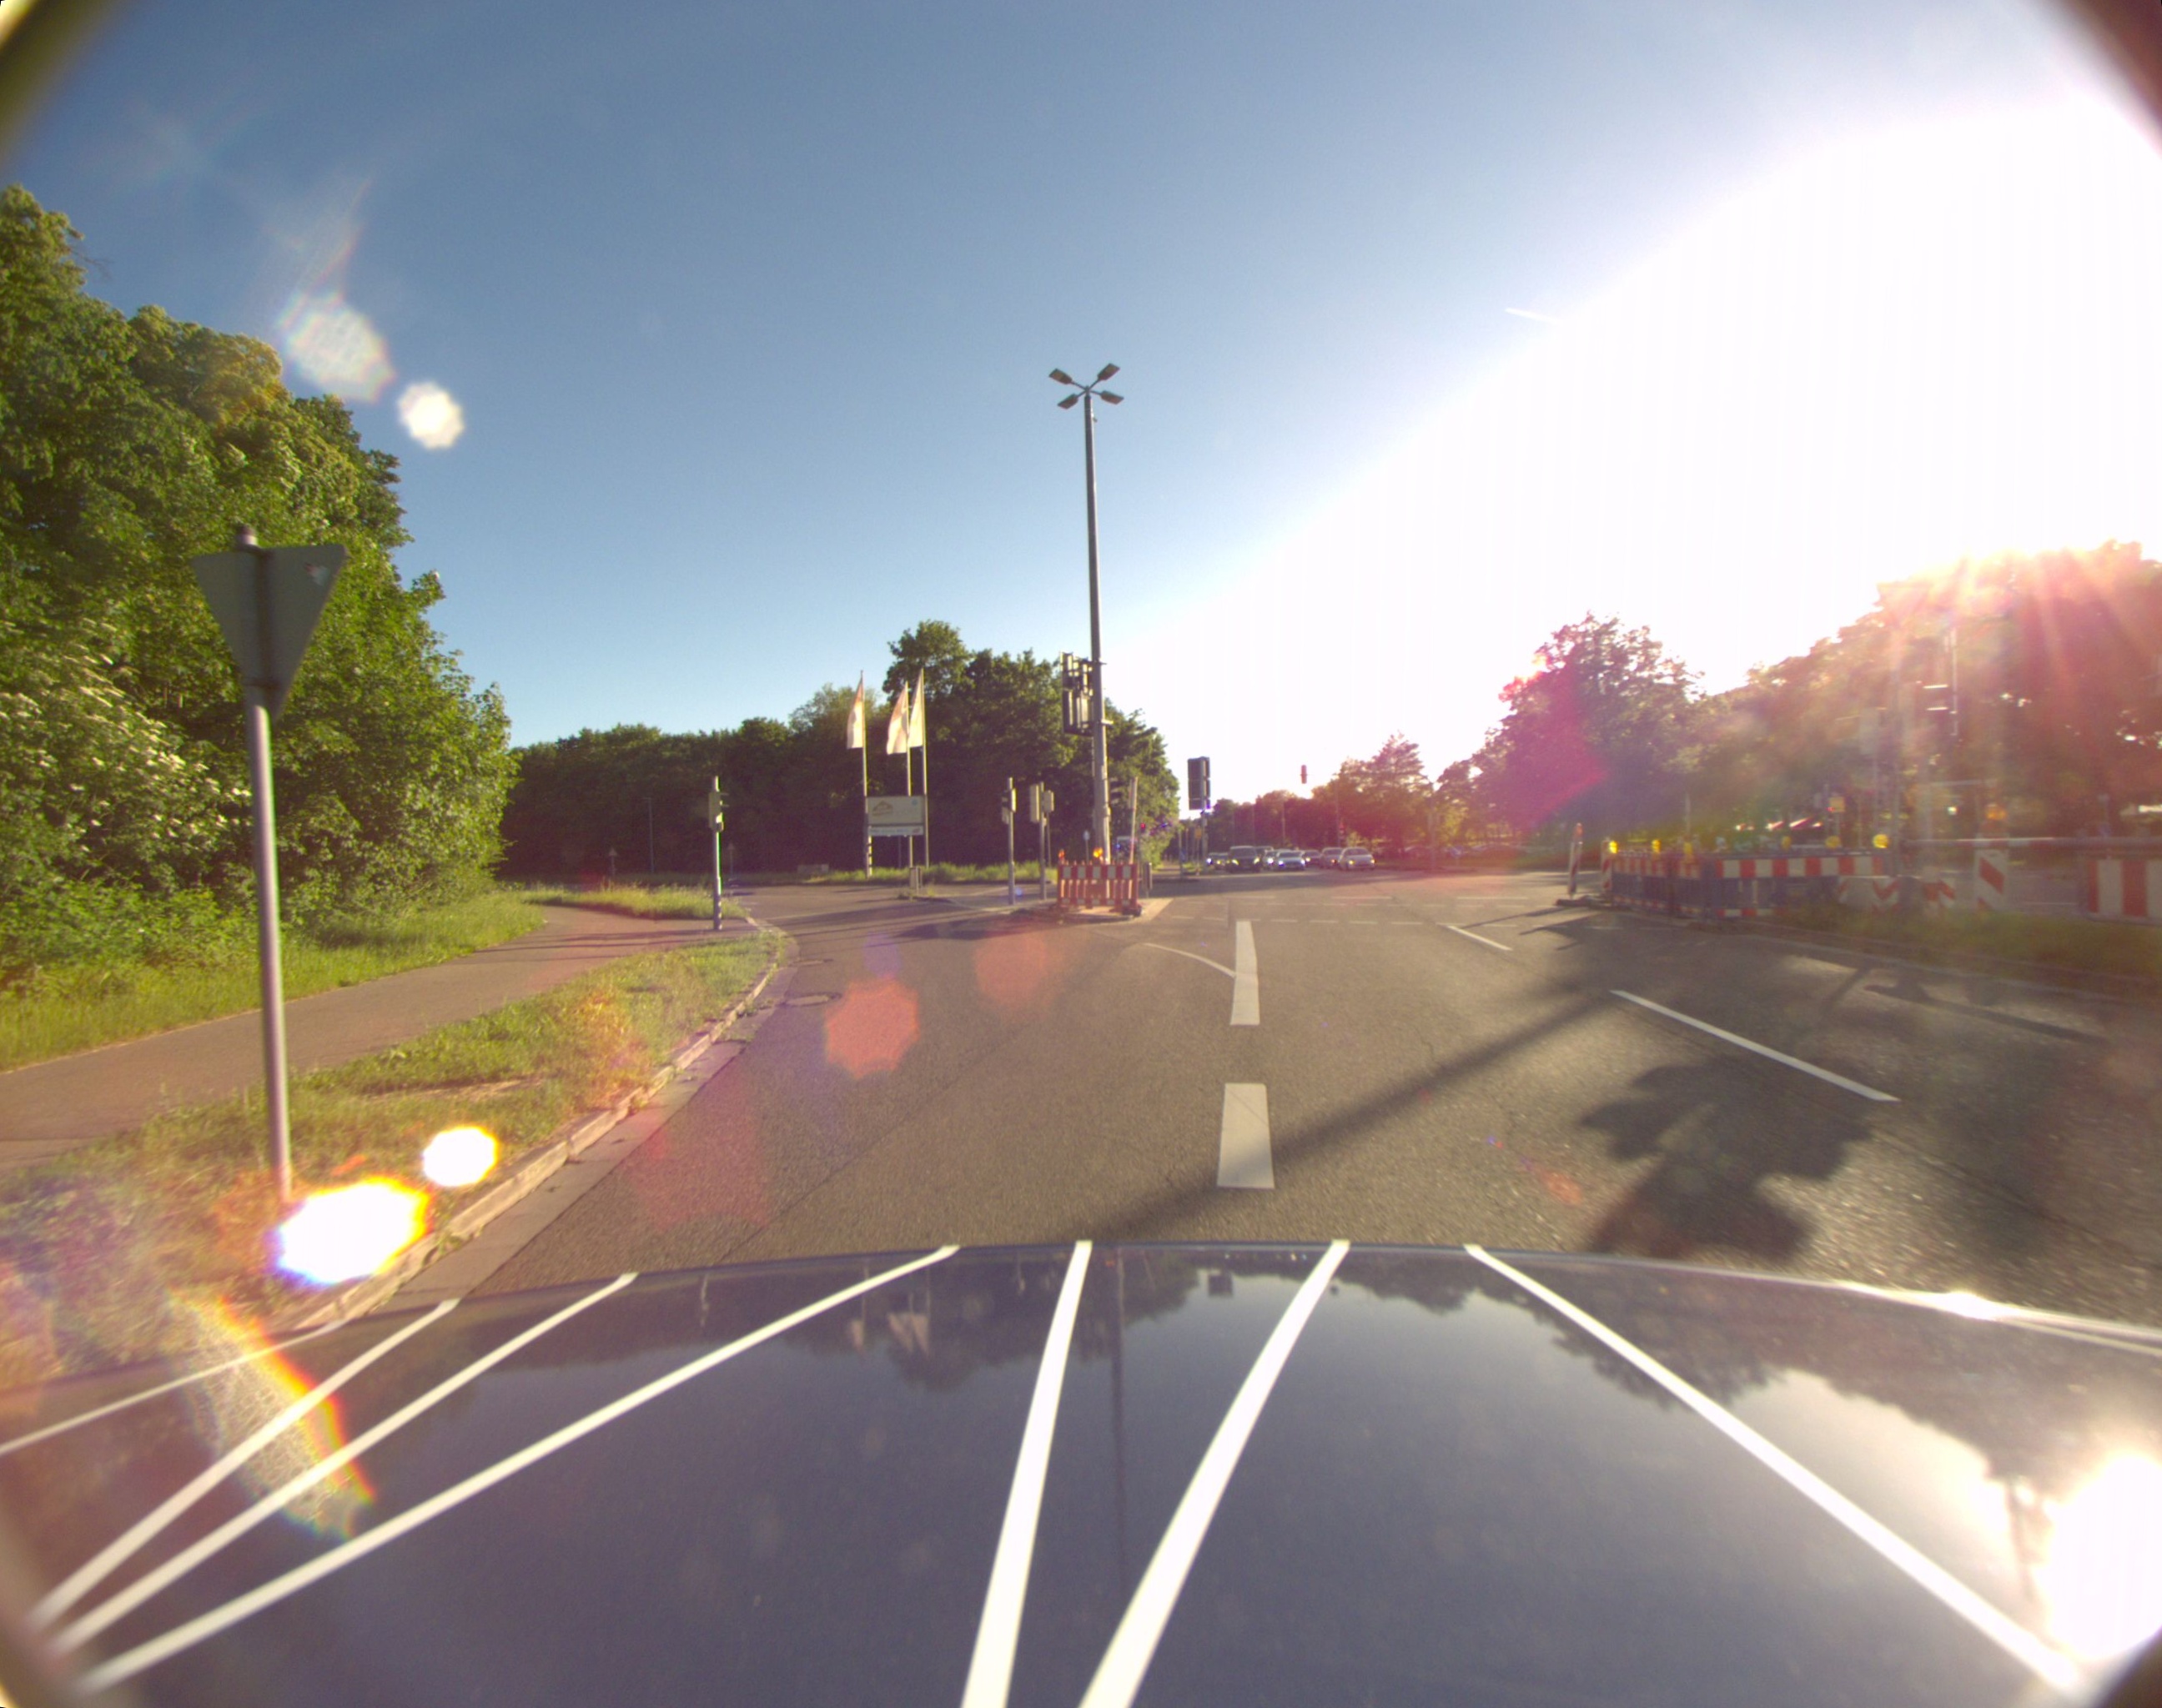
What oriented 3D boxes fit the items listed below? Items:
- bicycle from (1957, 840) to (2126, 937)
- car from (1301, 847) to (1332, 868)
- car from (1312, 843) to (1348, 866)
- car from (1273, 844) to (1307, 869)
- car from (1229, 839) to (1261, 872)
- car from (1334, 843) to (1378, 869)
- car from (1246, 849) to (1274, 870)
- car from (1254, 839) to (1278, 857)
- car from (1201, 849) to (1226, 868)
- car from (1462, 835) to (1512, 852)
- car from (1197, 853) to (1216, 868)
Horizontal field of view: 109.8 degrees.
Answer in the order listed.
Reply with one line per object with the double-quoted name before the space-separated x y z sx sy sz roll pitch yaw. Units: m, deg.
"bicycle" 9.911 0.324 7.899 0.339 0.900 1.347 -2 1 14
"car" 19.621 0.274 63.433 1.997 1.510 4.002 -3 1 11
"car" 18.047 -0.005 55.239 1.997 1.510 4.002 -3 1 11
"car" 14.698 0.160 53.612 1.997 1.510 4.002 -3 1 11
"car" 11.393 0.067 52.917 1.997 2.057 4.002 -3 1 11
"car" 17.163 0.097 47.617 1.997 1.510 4.003 -2 0 11
"car" 14.427 0.421 61.306 1.997 1.510 4.002 -3 1 11
"car" 17.532 -0.590 71.997 1.997 1.510 4.002 -3 1 11
"car" 12.019 0.358 68.722 1.997 1.510 4.002 -3 1 11
"car" 41.341 -1.103 77.440 3.997 1.510 1.999 -3 1 0
"car" 14.769 0.785 89.380 1.997 1.510 4.002 -3 1 11
